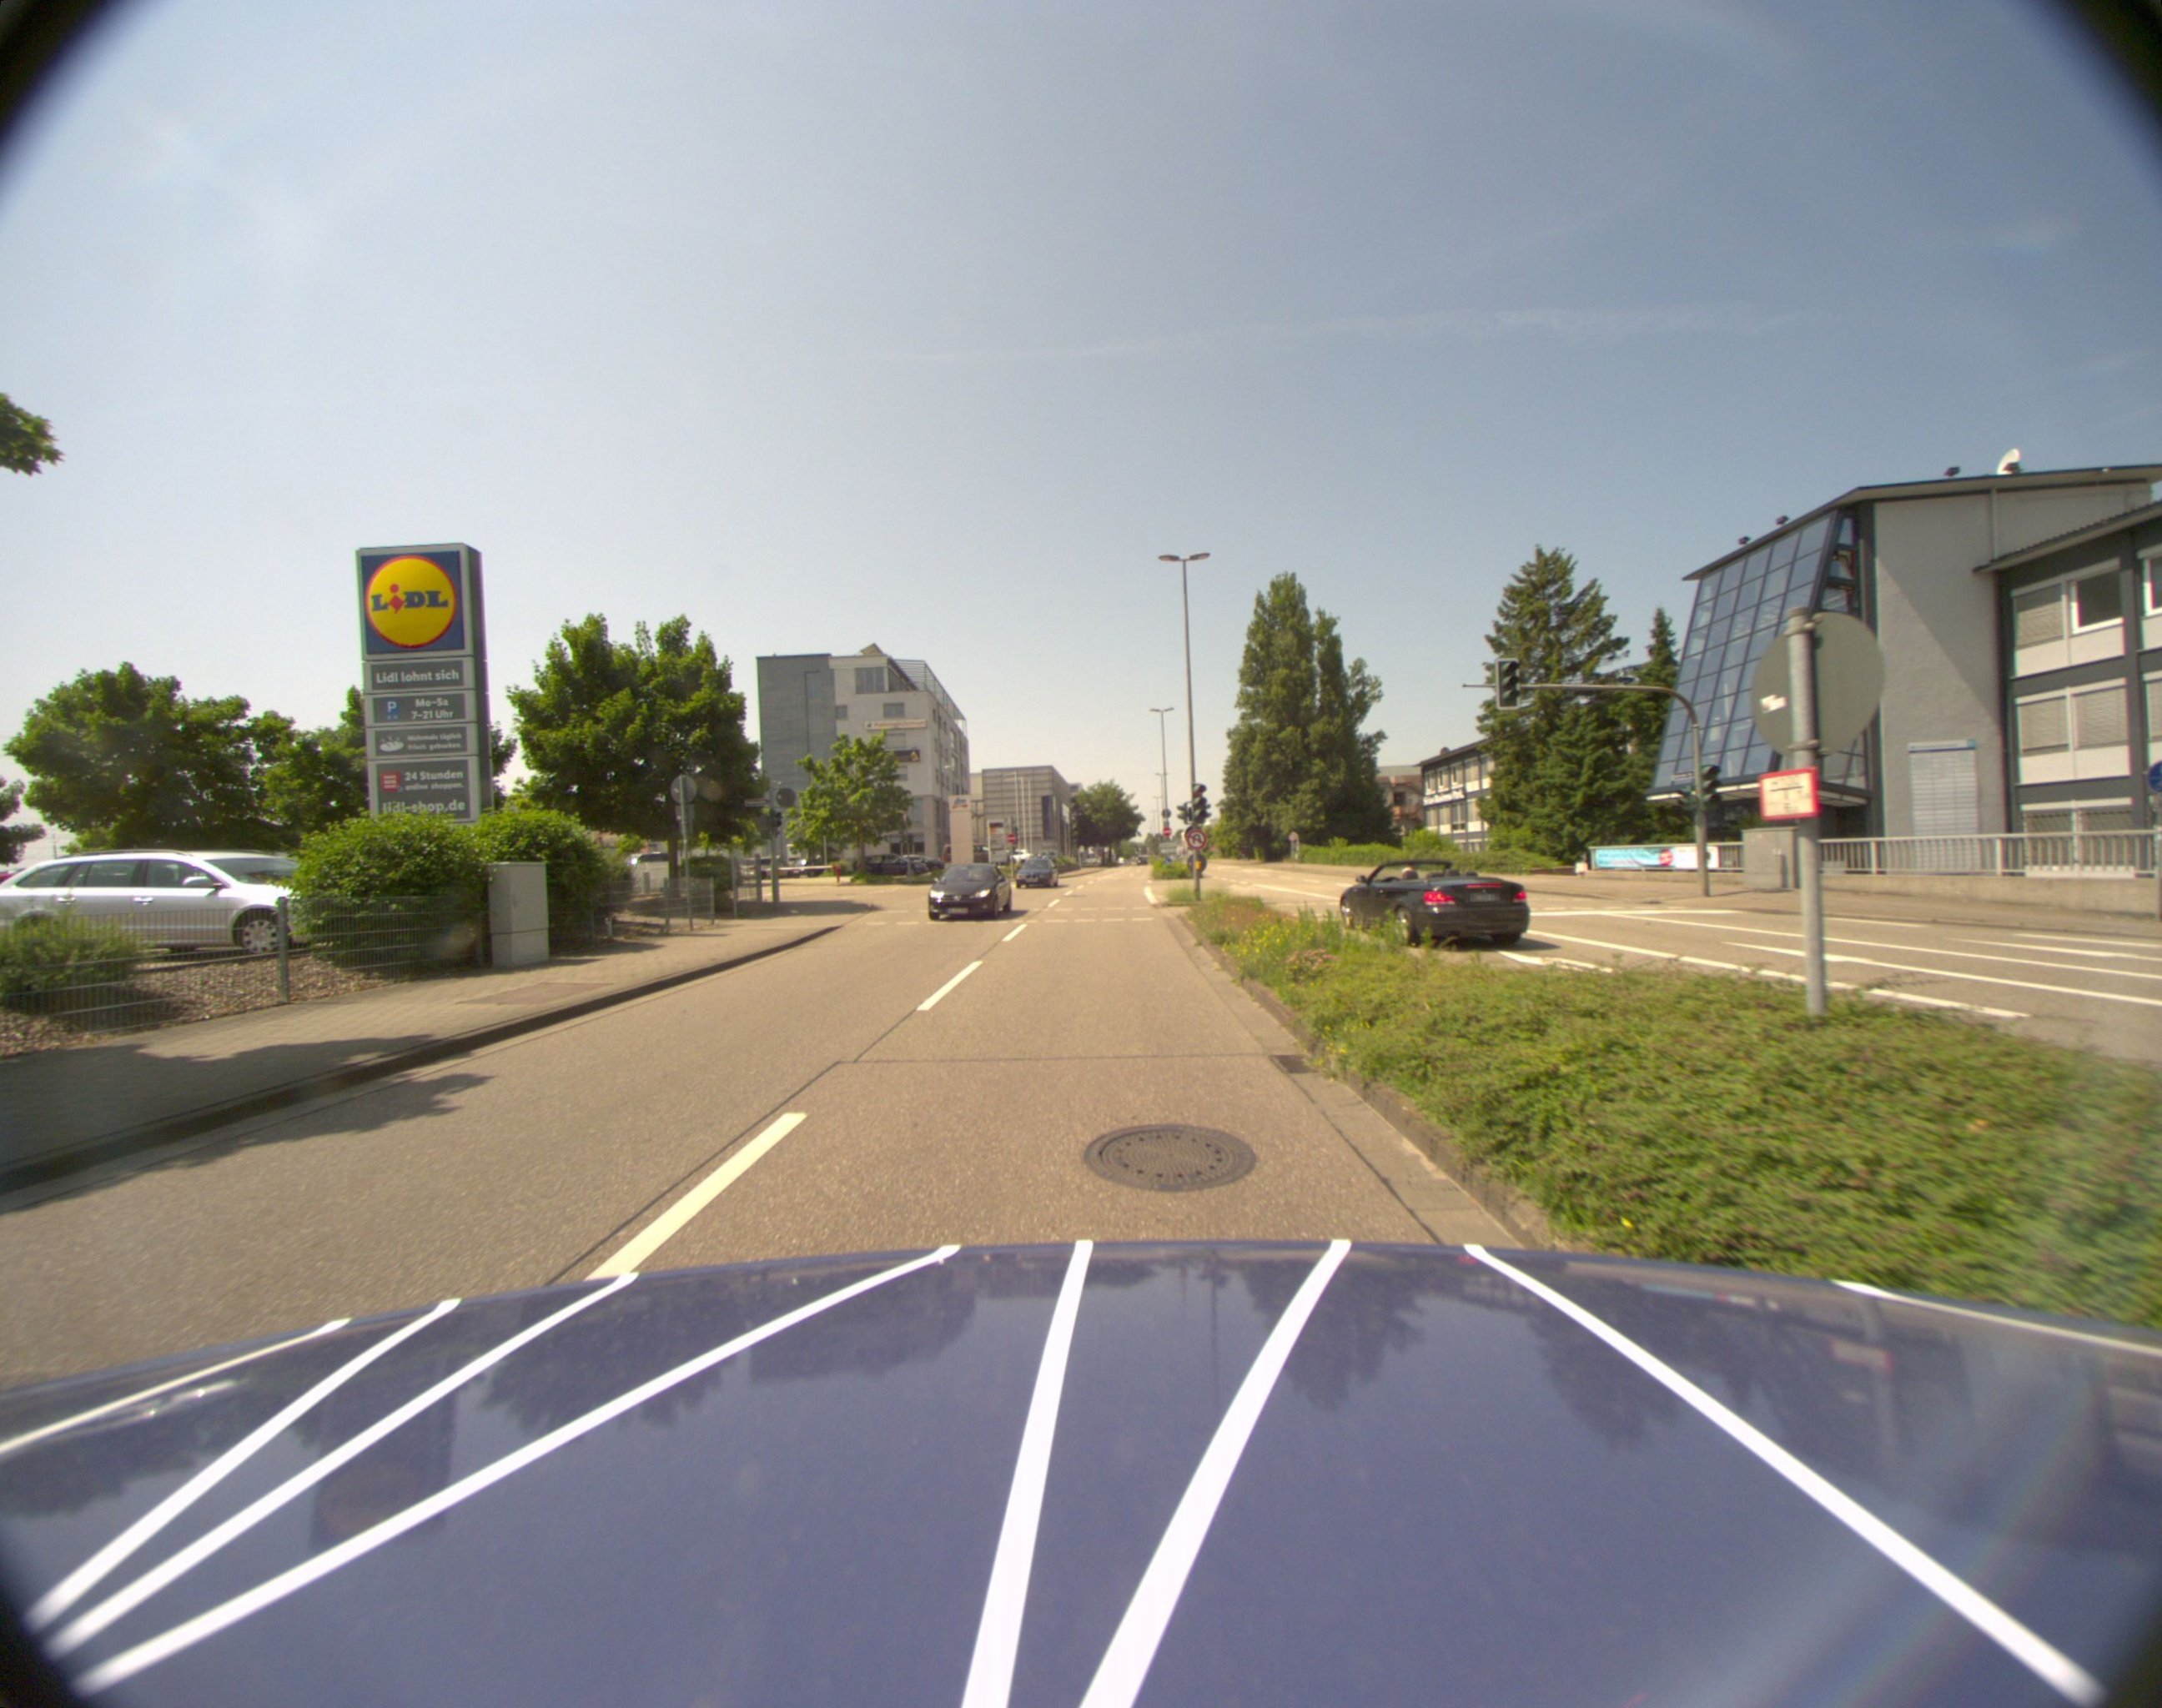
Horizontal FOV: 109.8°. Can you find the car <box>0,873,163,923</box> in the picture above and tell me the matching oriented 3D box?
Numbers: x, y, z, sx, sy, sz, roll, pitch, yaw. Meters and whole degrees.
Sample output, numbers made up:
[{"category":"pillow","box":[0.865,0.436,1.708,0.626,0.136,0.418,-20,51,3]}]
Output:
[{"category":"car","box":[-32.763,1.394,24.140,1.998,1.378,4.142,-4,0,2]}]

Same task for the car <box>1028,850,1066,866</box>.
[{"category":"car","box":[-3.871,0.447,87.268,4.136,1.477,1.759,-3,0,4]}]

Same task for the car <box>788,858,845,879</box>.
[{"category":"car","box":[-19.795,1.082,57.054,1.996,1.477,4.006,-1,0,19]}]

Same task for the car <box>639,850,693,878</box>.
[{"category":"car","box":[-34.230,0.778,62.763,1.669,2.179,3.437,-4,-2,32]}]

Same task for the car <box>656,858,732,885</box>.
[{"category":"car","box":[-28.647,1.287,56.426,1.995,1.702,4.754,-3,0,24]}]

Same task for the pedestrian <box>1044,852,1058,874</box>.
[{"category":"pedestrian","box":[-2.243,0.675,57.586,0.830,1.616,1.005,-3,2,5]}]

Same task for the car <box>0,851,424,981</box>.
[{"category":"car","box":[-12.165,0.807,10.511,4.588,1.496,1.698,-2,0,-1]}]

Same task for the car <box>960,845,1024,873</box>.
[{"category":"car","box":[-6.705,0.348,57.670,4.420,1.689,2.000,-5,1,3]}]

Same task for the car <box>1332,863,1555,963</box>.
[{"category":"car","box":[5.779,0.846,12.745,1.733,1.316,4.149,-1,0,0]}]

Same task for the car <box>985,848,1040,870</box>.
[{"category":"car","box":[-5.862,0.395,65.347,4.474,1.600,2.097,-4,1,1]}]

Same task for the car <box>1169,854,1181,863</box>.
[{"category":"car","box":[17.063,0.818,137.797,1.763,1.410,4.092,-2,0,2]}]

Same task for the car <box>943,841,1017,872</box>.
[{"category":"car","box":[-7.169,0.155,54.168,4.705,1.787,2.184,-5,0,5]}]

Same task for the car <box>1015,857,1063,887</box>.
[{"category":"car","box":[-1.977,0.835,36.577,1.711,1.316,3.957,-1,0,5]}]

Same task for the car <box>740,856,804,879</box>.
[{"category":"car","box":[-22.795,0.986,56.218,1.668,1.590,4.200,-1,0,29]}]

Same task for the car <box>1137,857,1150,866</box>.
[{"category":"car","box":[9.959,1.134,121.096,1.867,1.390,4.002,-1,0,6]}]

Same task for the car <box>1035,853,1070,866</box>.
[{"category":"car","box":[-3.494,0.640,94.251,4.136,1.477,1.759,-2,1,4]}]

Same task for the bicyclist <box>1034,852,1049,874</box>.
[{"category":"bicyclist","box":[-2.790,0.640,53.518,0.776,1.455,1.091,-3,0,5]}]

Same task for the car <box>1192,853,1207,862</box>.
[{"category":"car","box":[19.903,0.564,127.708,1.898,1.551,4.287,-1,0,2]}]

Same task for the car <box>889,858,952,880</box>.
[{"category":"car","box":[-10.825,1.006,51.353,3.881,1.331,1.756,-2,0,0]}]

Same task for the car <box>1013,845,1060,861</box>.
[{"category":"car","box":[-4.668,-0.067,79.949,4.759,1.373,1.799,-4,0,1]}]

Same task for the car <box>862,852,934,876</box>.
[{"category":"car","box":[-11.315,0.606,47.135,3.997,1.331,1.863,-2,0,0]}]

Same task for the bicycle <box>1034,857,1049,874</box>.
[{"category":"bicycle","box":[-2.785,0.828,53.567,0.759,1.126,1.908,-3,0,5]}]

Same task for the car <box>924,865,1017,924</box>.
[{"category":"car","box":[-2.763,0.987,19.748,1.640,1.348,3.501,-1,0,5]}]
